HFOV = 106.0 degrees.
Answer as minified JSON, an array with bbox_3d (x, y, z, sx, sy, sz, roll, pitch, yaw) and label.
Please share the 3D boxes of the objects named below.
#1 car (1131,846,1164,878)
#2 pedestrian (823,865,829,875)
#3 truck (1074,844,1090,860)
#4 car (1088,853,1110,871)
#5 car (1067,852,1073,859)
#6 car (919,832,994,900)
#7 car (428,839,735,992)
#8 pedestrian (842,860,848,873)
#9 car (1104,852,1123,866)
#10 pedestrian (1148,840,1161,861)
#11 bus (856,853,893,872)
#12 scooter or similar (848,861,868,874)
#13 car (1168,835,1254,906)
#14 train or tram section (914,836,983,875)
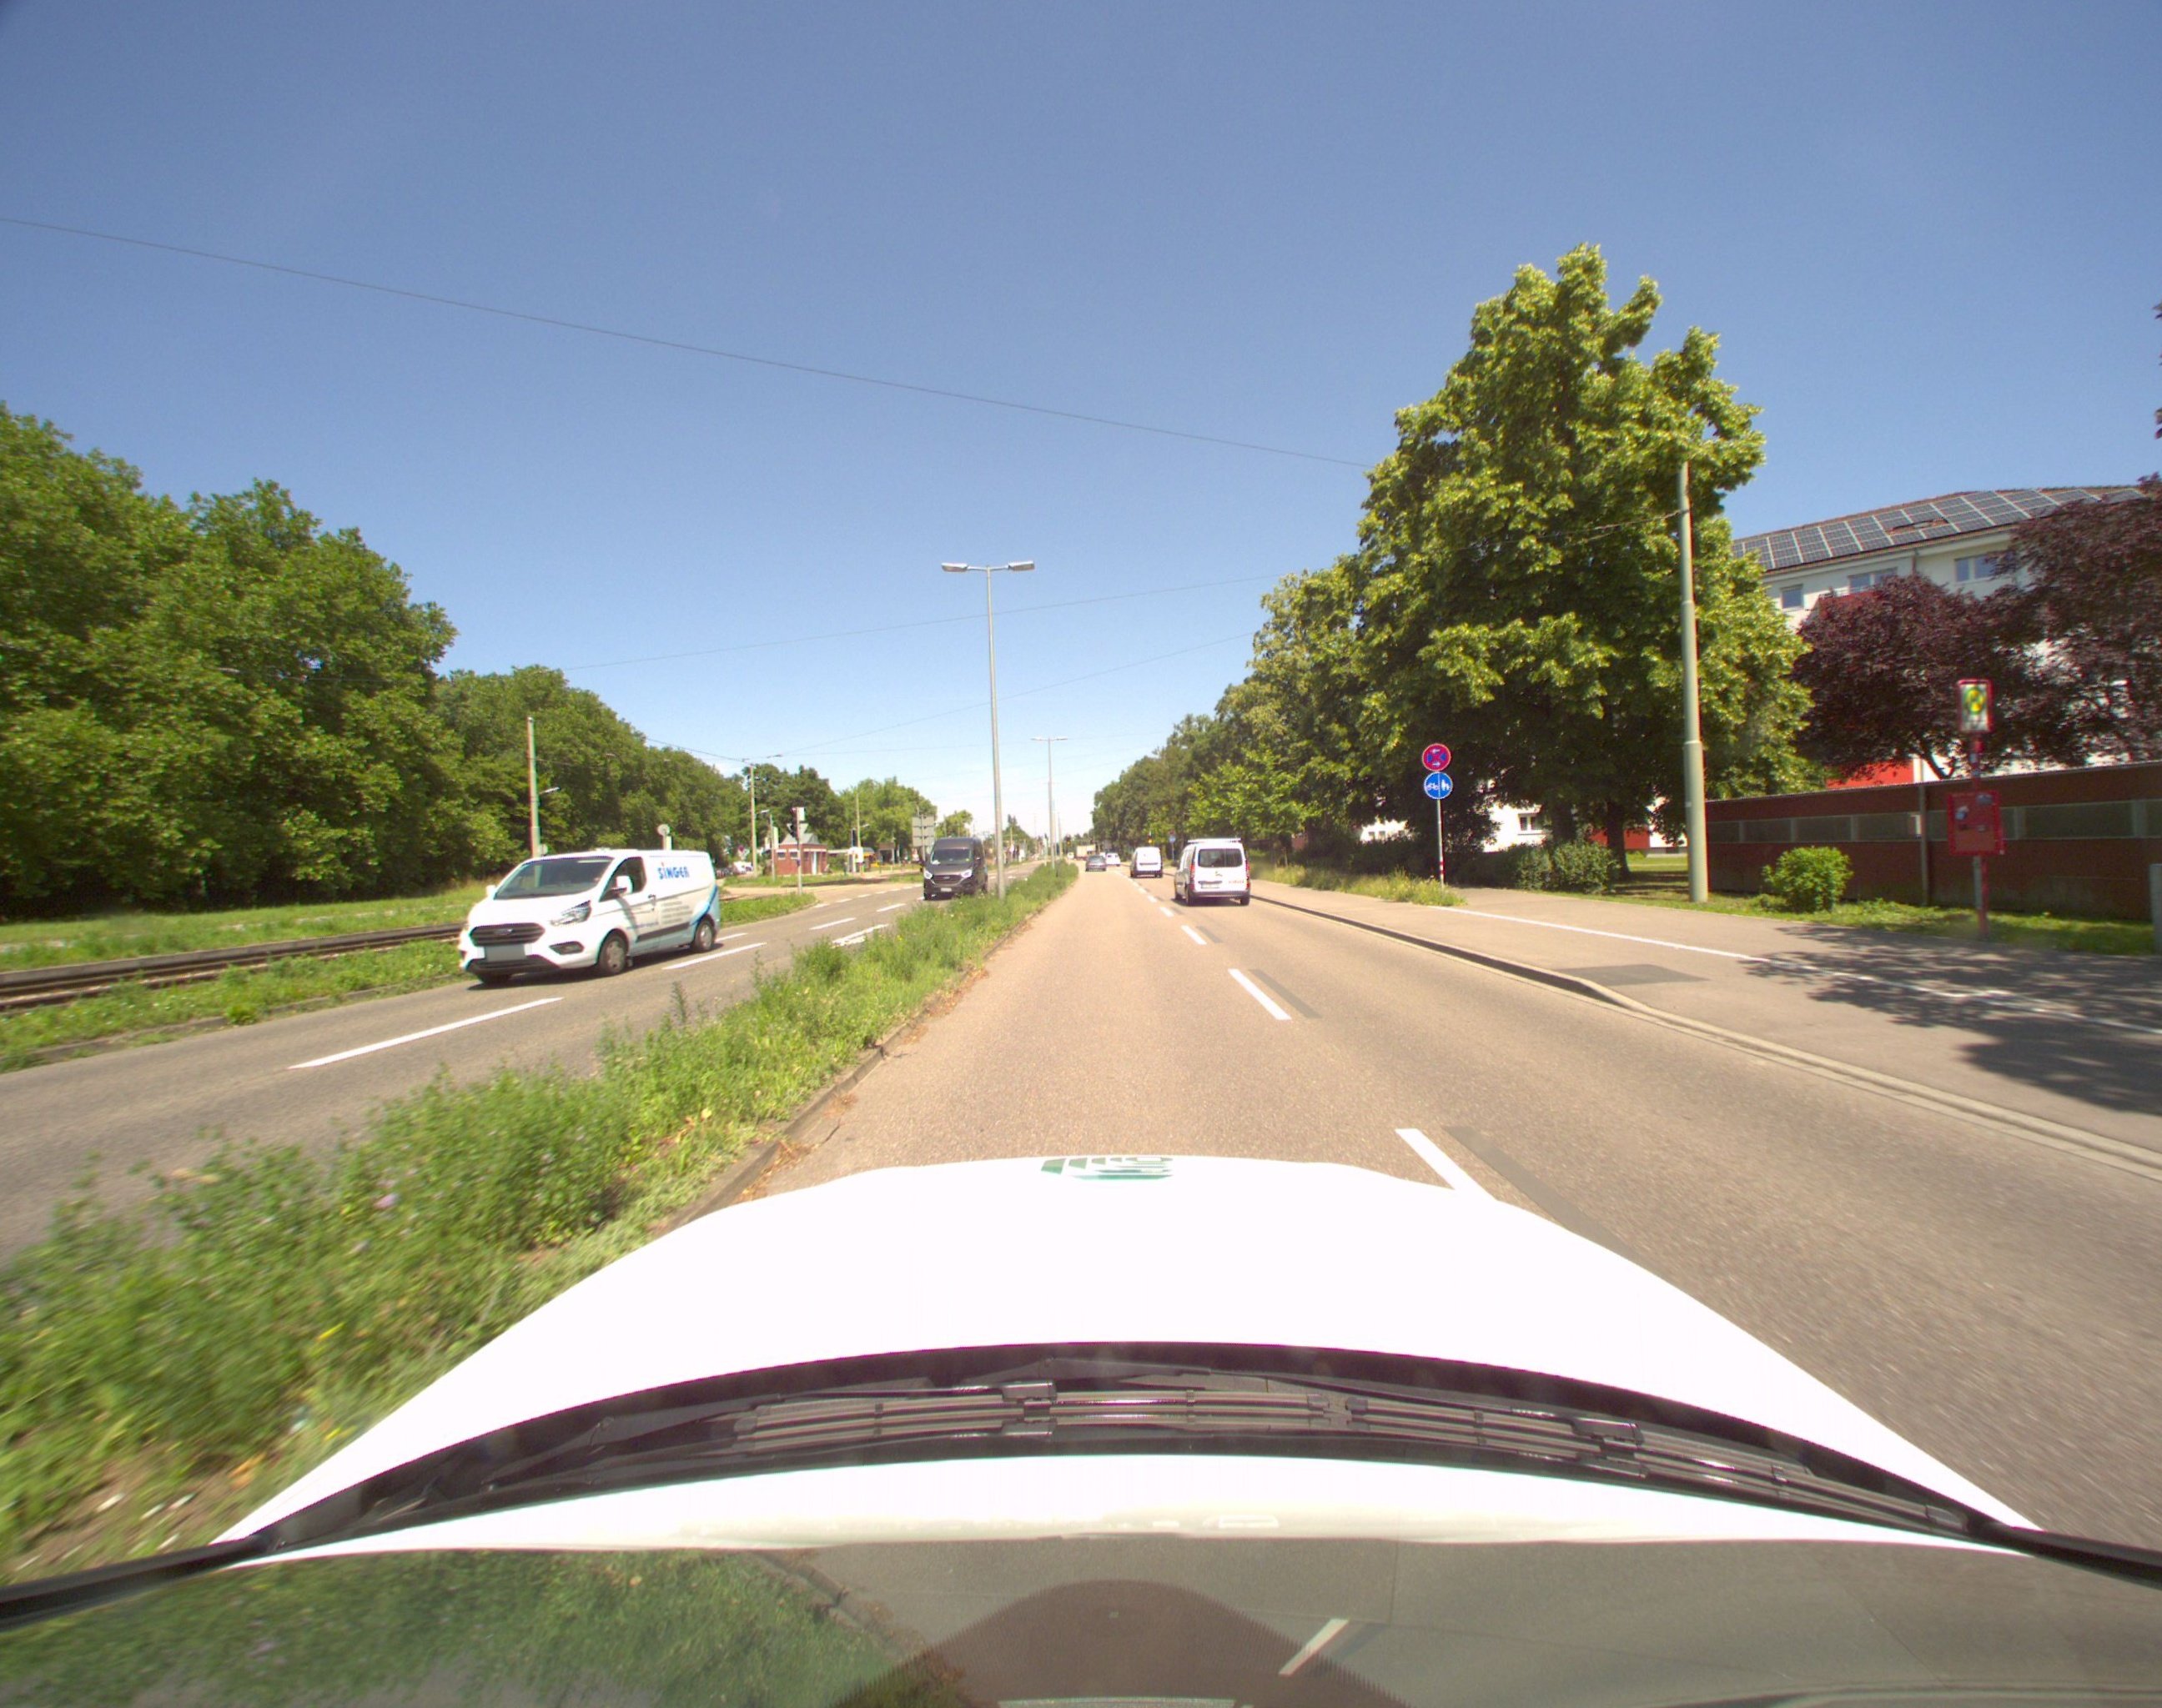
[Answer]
[{"bbox_3d":[3.944,0.448,48.771,1.721,1.814,4.002,-1,0,2],"label":"car"},{"bbox_3d":[-26.991,1.678,86.270,0.480,1.018,0.522,-2,0,0],"label":"pedestrian"},{"bbox_3d":[0.182,-0.458,213.796,3.888,3.812,10.786,-2,0,-1],"label":"truck"},{"bbox_3d":[1.523,0.693,70.008,1.796,1.486,4.000,-2,0,0],"label":"car"},{"bbox_3d":[-3.080,0.434,229.739,1.683,1.897,3.868,-2,0,-1],"label":"car"},{"bbox_3d":[-4.800,0.418,32.150,1.987,2.366,5.372,-3,0,0],"label":"car"},{"bbox_3d":[-8.026,0.840,13.864,1.987,2.013,5.030,-3,0,0],"label":"car"},{"bbox_3d":[-26.124,1.429,90.175,0.460,1.436,0.524,-2,0,-3],"label":"pedestrian"},{"bbox_3d":[3.757,0.626,94.623,1.798,1.540,3.997,-2,0,-2],"label":"car"},{"bbox_3d":[6.646,-0.330,73.884,1.040,1.850,0.759,-1,-1,10],"label":"pedestrian"},{"bbox_3d":[-41.016,1.765,161.719,7.466,3.566,2.011,-2,0,23],"label":"bus"},{"bbox_3d":[-20.285,1.253,74.121,0.605,1.127,1.684,-2,0,43],"label":"scooter or similar"},{"bbox_3d":[3.760,0.446,24.275,1.818,1.882,4.454,-1,0,0],"label":"car"},{"bbox_3d":[-15.033,0.221,97.239,2.780,3.668,37.496,-2,0,-1],"label":"train or tram section"}]
